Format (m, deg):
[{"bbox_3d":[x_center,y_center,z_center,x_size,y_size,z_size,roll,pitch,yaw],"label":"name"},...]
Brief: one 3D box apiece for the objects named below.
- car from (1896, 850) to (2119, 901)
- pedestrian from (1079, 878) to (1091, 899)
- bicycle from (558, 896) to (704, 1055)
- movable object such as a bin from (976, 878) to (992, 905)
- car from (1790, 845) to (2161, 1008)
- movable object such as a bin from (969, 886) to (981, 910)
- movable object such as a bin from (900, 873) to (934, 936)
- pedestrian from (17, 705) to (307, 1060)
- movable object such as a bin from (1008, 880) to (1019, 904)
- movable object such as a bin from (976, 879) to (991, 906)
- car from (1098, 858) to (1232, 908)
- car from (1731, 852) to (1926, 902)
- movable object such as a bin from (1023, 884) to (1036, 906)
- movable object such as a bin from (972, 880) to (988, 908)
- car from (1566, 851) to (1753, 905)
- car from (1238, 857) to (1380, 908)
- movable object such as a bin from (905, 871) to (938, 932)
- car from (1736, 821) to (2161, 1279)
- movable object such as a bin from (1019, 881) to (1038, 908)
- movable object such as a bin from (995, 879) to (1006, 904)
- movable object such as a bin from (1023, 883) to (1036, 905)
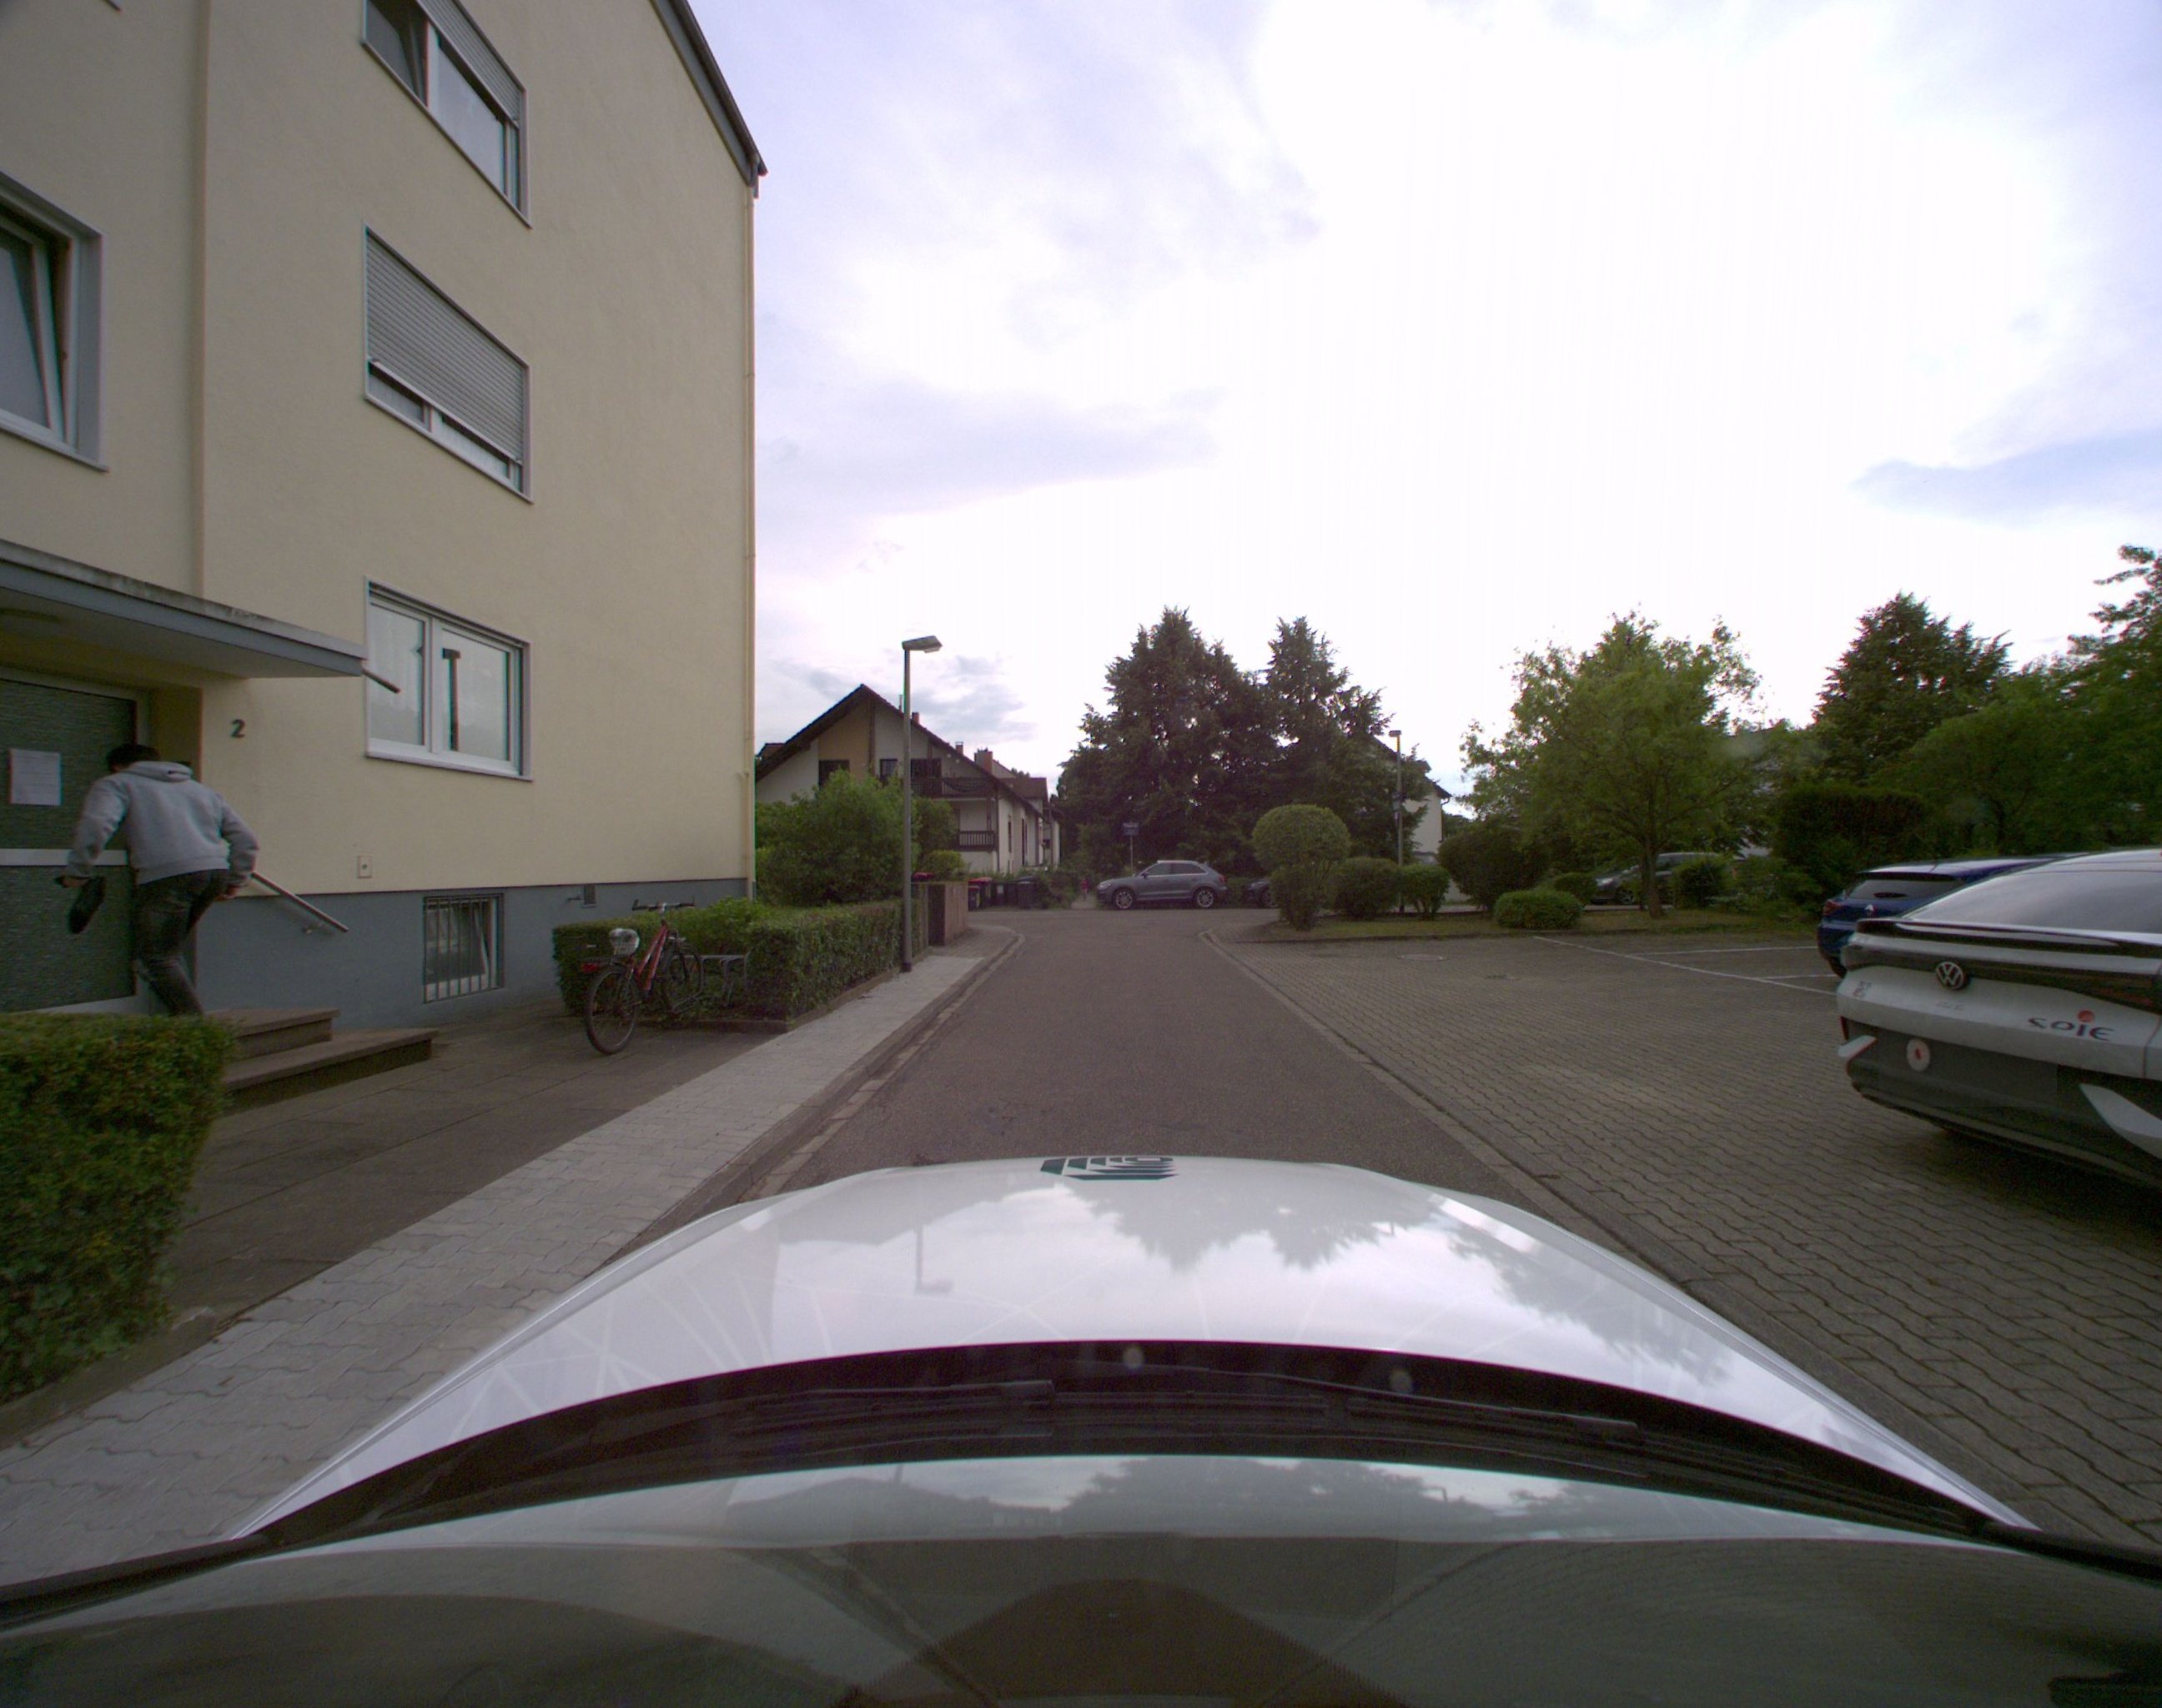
[{"bbox_3d":[28.270,0.681,24.989,4.441,1.428,1.785,-1,-3,6],"label":"car"},{"bbox_3d":[0.290,2.495,59.453,0.812,1.517,0.438,-1,-2,-2],"label":"pedestrian"},{"bbox_3d":[-3.508,0.895,6.462,0.317,1.076,1.418,0,-1,2],"label":"bicycle"},{"bbox_3d":[-3.587,1.382,30.194,0.535,0.994,0.337,0,-1,-2],"label":"movable object such as a bin"},{"bbox_3d":[10.476,0.684,8.786,3.884,1.510,2.028,-1,0,1],"label":"car"},{"bbox_3d":[-3.698,1.541,28.483,0.385,0.836,0.379,0,-1,-1],"label":"movable object such as a bin"},{"bbox_3d":[-3.157,0.963,15.724,0.503,1.188,0.515,-2,-1,0],"label":"movable object such as a bin"},{"bbox_3d":[-4.914,0.140,4.420,0.678,1.749,0.755,0,-1,-5],"label":"pedestrian"},{"bbox_3d":[-2.517,1.409,30.386,0.385,0.890,0.379,0,-1,-1],"label":"movable object such as a bin"},{"bbox_3d":[-3.558,1.396,29.740,0.535,0.994,0.337,0,-1,-2],"label":"movable object such as a bin"},{"bbox_3d":[2.666,0.957,26.680,4.222,1.531,1.747,-1,-3,0],"label":"car"},{"bbox_3d":[23.322,0.745,25.562,4.269,1.479,1.766,-1,-3,6],"label":"car"},{"bbox_3d":[-1.926,1.533,30.607,0.458,0.797,0.379,0,-1,-1],"label":"movable object such as a bin"},{"bbox_3d":[-3.596,1.431,29.005,0.535,0.994,0.379,0,-1,-2],"label":"movable object such as a bin"},{"bbox_3d":[18.148,0.772,25.709,4.518,1.594,1.764,-1,-3,3],"label":"car"},{"bbox_3d":[7.242,0.928,26.209,4.161,1.531,1.750,-1,-3,5],"label":"car"},{"bbox_3d":[-3.205,0.939,16.388,0.503,1.188,0.515,-2,-1,0],"label":"movable object such as a bin"},{"bbox_3d":[6.047,0.640,3.672,4.518,1.588,1.989,-1,0,2],"label":"car"},{"bbox_3d":[-1.859,1.426,28.840,0.636,0.953,0.723,0,-1,0],"label":"movable object such as a bin"},{"bbox_3d":[-3.000,1.400,30.376,0.385,0.901,0.379,0,-1,-1],"label":"movable object such as a bin"},{"bbox_3d":[-1.917,1.495,30.196,0.458,0.797,0.379,0,-1,-1],"label":"movable object such as a bin"}]
